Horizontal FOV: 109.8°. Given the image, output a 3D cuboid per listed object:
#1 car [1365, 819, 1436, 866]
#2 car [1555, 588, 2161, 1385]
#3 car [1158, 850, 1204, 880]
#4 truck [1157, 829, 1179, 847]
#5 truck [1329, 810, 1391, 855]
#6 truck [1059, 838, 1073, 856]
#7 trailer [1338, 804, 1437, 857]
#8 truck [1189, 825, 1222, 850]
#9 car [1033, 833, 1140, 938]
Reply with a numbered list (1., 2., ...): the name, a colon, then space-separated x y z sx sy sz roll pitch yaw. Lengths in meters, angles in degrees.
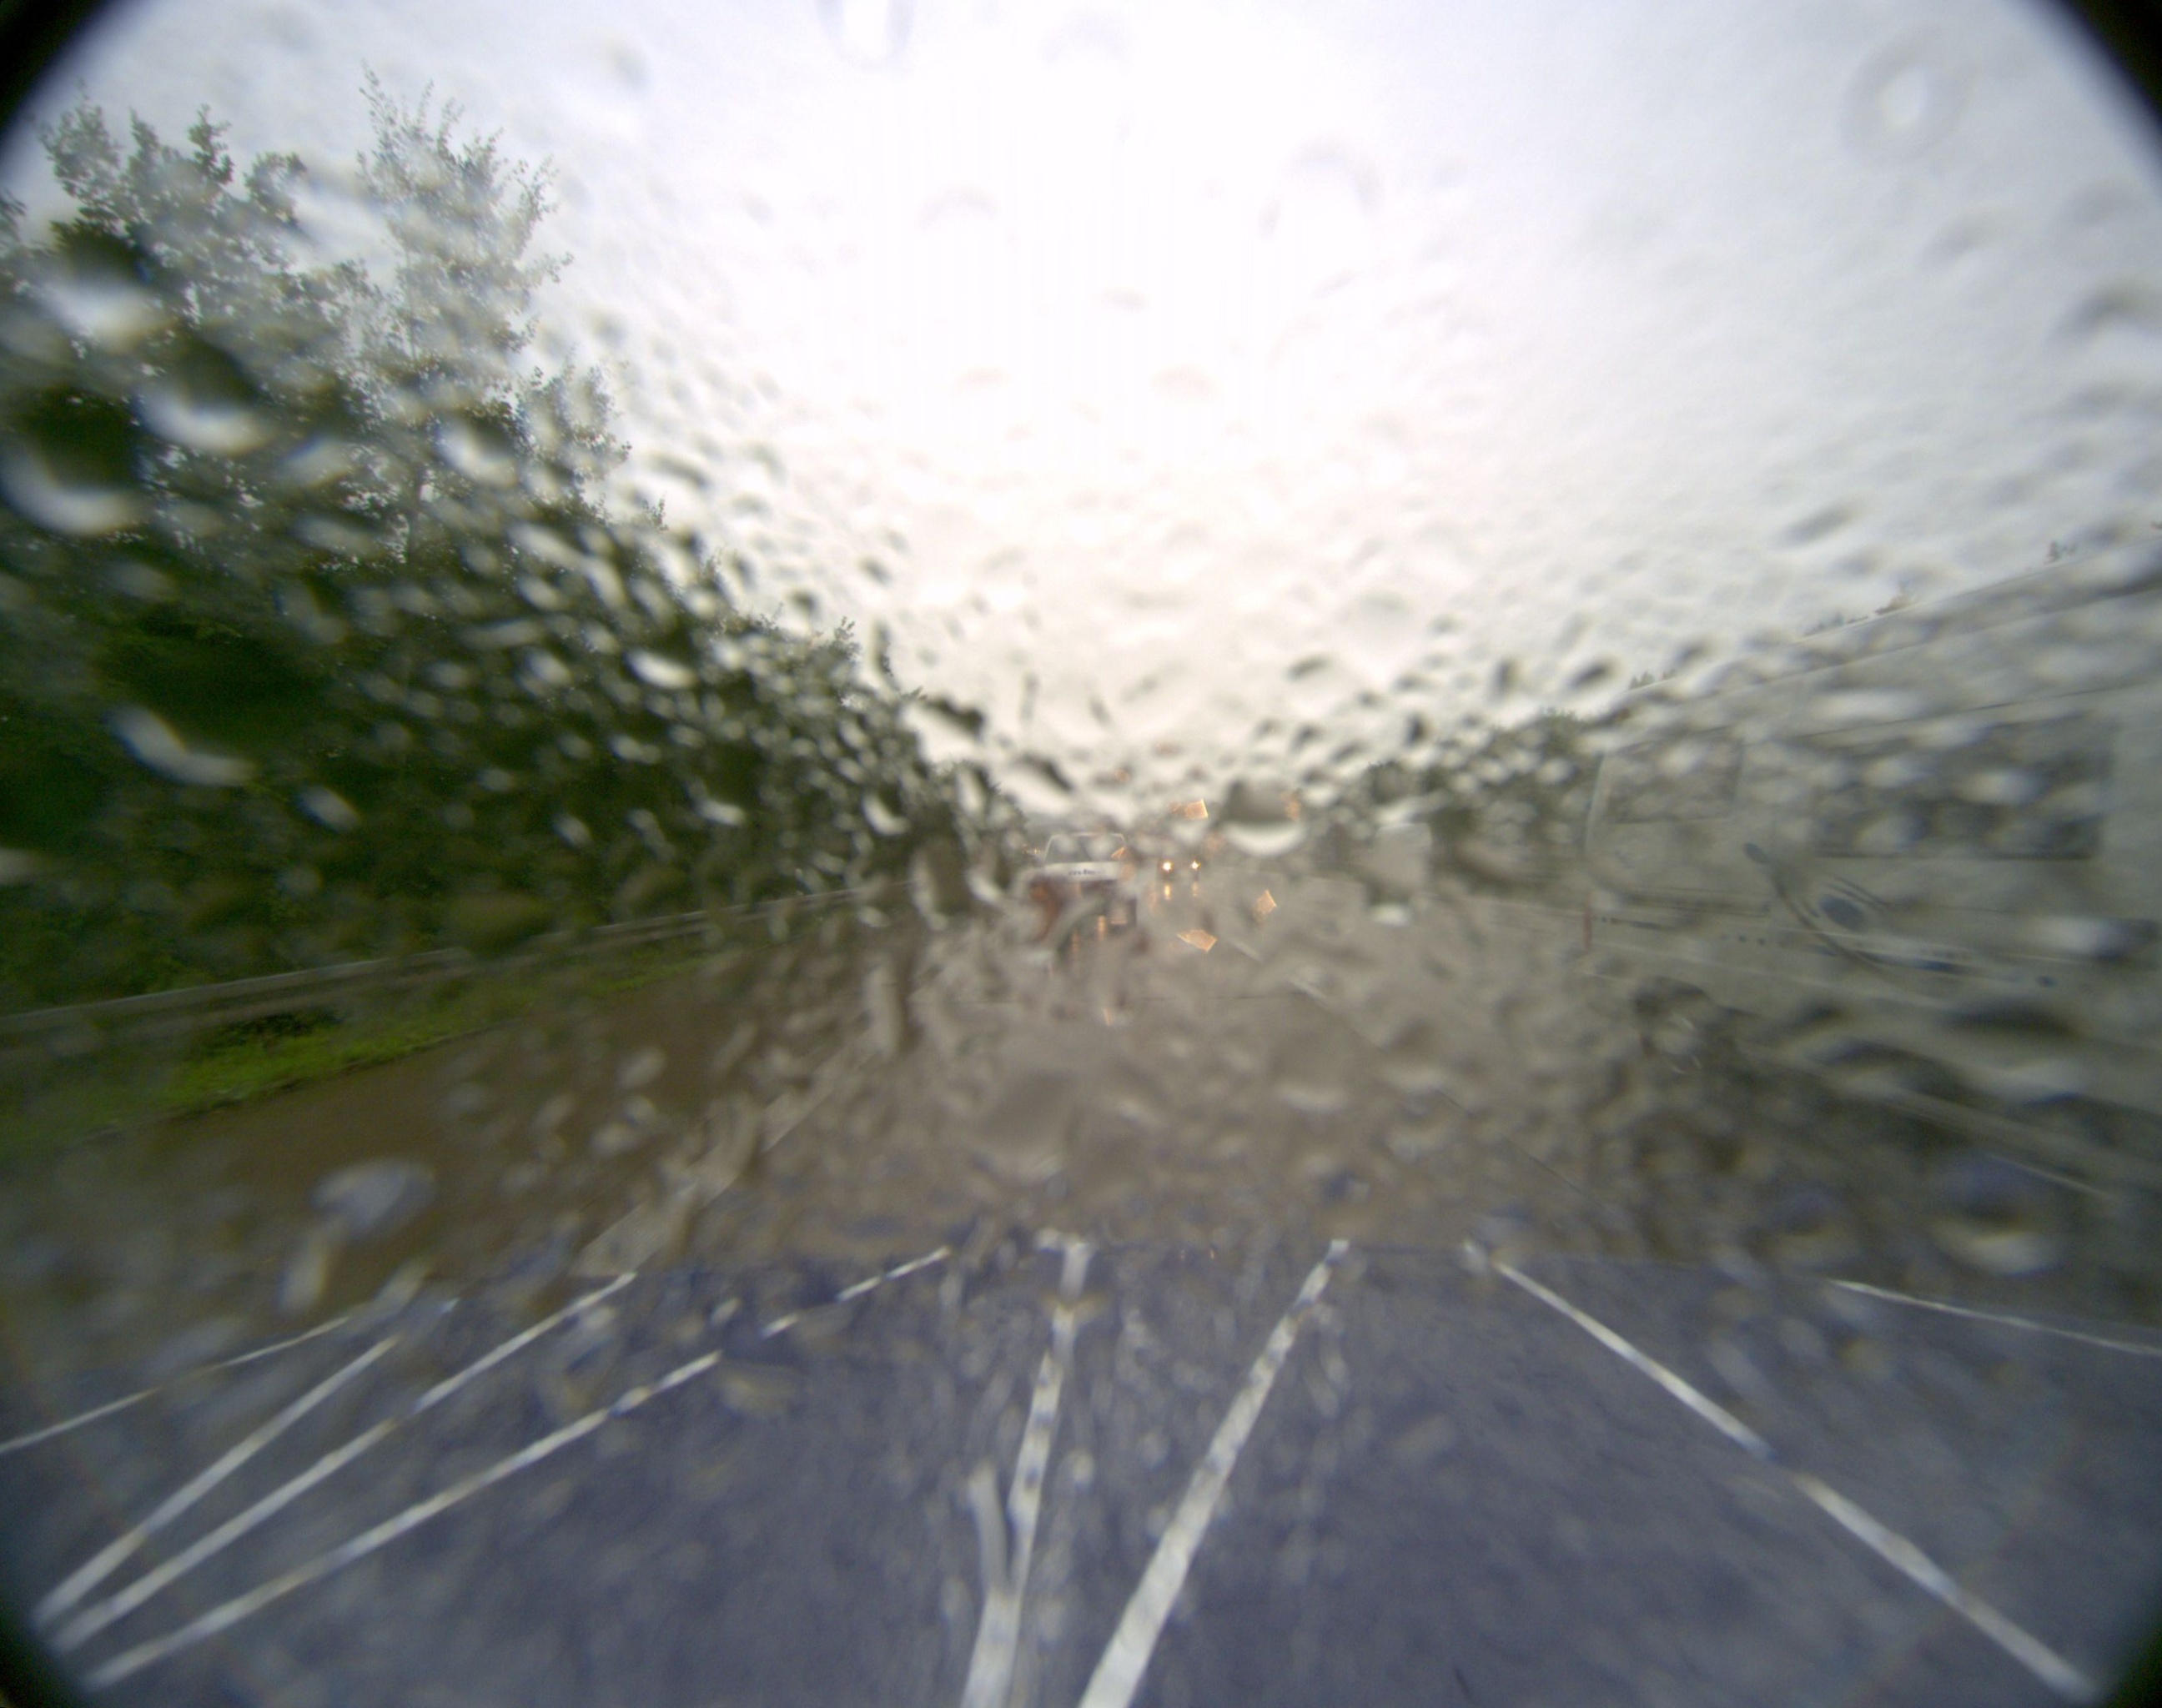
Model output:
1. car: 21.451 -0.769 51.387 2.093 2.884 6.533 -2 1 1
2. car: 4.267 0.383 2.365 2.003 2.418 5.790 -2 1 1
3. car: 5.036 0.515 38.842 1.745 1.380 4.320 0 1 0
4. truck: 20.703 -3.753 181.923 3.132 4.220 13.537 -2 1 -2
5. truck: 25.034 -1.880 68.446 3.144 3.834 6.886 -1 1 1
6. truck: -3.612 -1.549 180.342 3.058 3.995 10.042 2 -1 0
7. trailer: 24.932 -1.812 62.798 3.144 3.834 12.869 -1 1 1
8. truck: 22.937 -2.975 140.997 3.132 4.220 16.367 -2 1 -1
9. car: 0.138 0.552 16.563 1.904 1.883 5.042 -2 1 1
